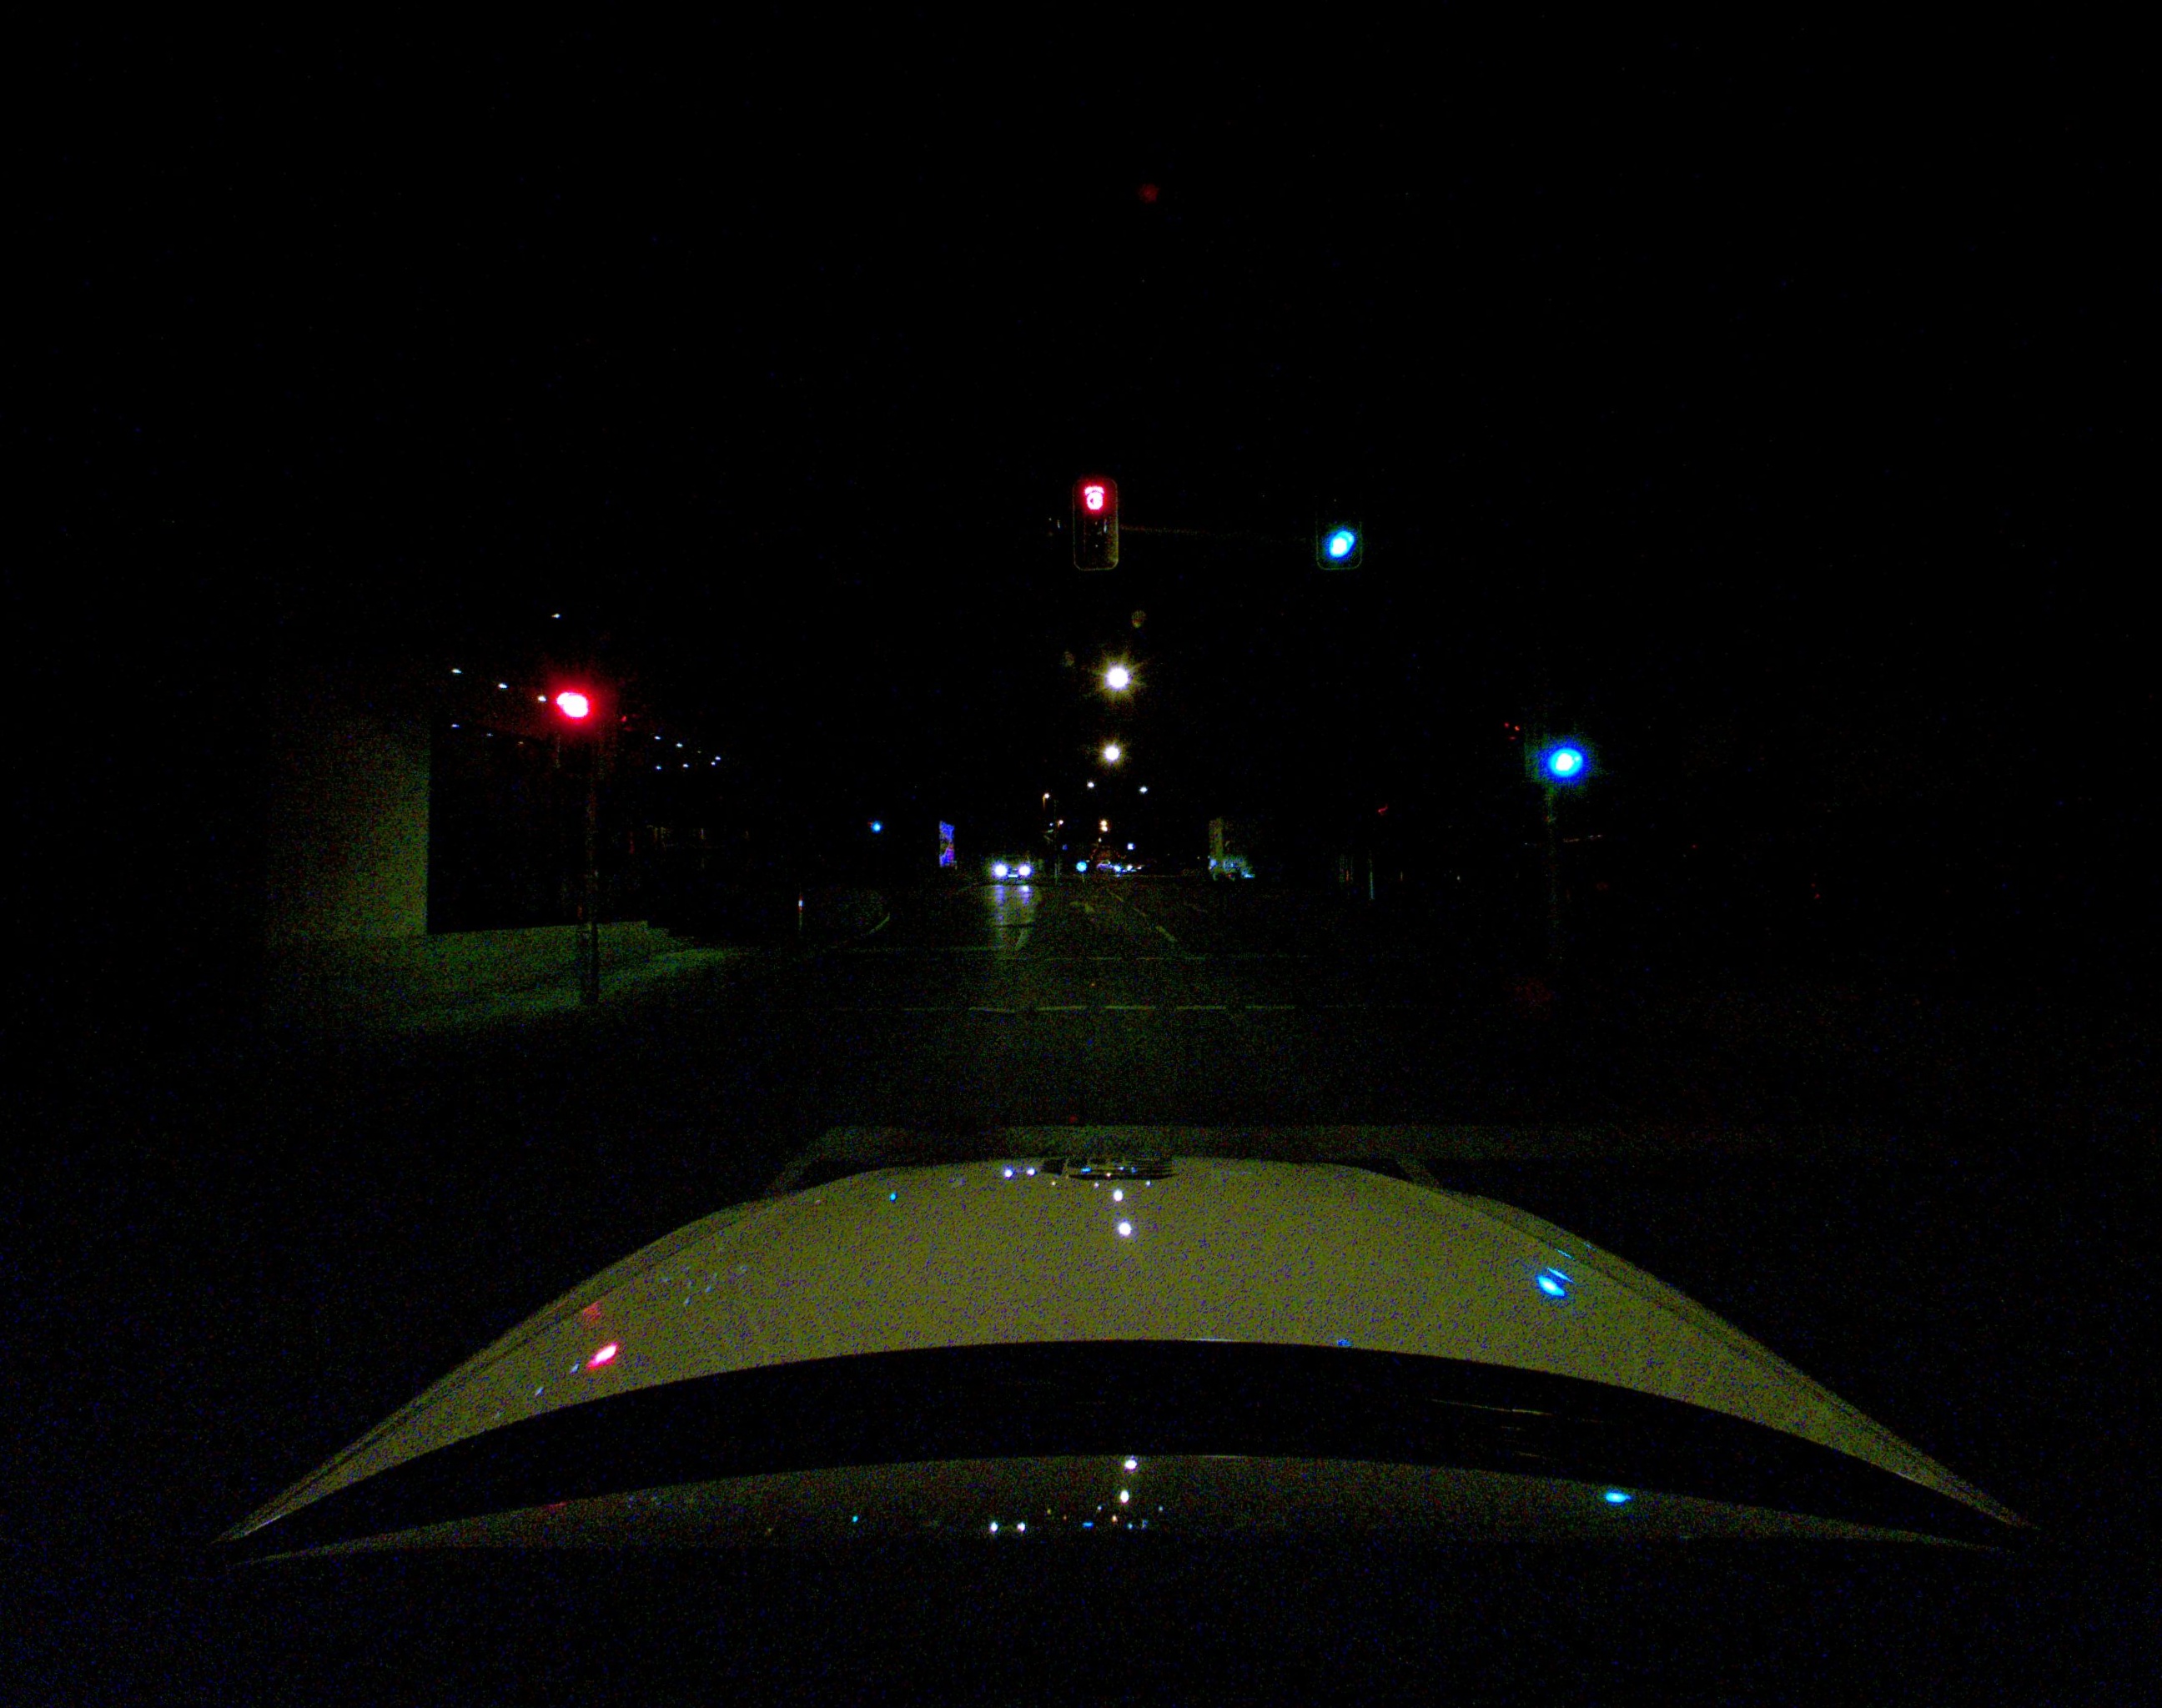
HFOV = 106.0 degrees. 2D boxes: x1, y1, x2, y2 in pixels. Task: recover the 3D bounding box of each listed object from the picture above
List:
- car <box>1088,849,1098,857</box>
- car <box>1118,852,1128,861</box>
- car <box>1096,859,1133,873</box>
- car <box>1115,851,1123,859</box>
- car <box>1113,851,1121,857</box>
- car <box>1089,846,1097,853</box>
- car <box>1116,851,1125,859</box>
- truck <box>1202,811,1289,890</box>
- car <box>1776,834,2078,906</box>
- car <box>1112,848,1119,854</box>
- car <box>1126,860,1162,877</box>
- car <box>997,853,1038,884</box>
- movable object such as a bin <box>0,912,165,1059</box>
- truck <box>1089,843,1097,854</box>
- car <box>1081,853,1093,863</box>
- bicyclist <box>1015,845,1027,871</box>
[{"bbox_3d":[2.362,-0.139,161.464,1.809,1.491,4.000,0,0,0],"label":"car"},{"bbox_3d":[7.424,0.425,144.115,1.628,1.451,3.486,0,0,2],"label":"car"},{"bbox_3d":[3.303,1.175,81.638,1.925,1.388,4.547,0,0,-24],"label":"car"},{"bbox_3d":[7.435,0.156,160.046,1.628,1.451,3.486,0,0,2],"label":"car"},{"bbox_3d":[7.897,0.029,179.292,1.628,1.451,3.486,0,0,2],"label":"car"},{"bbox_3d":[2.688,-0.983,187.890,1.809,1.491,4.000,0,0,0],"label":"car"},{"bbox_3d":[7.404,0.222,153.858,1.628,1.451,3.486,0,0,2],"label":"car"},{"bbox_3d":[6.925,-0.142,35.191,2.738,3.110,6.262,0,0,2],"label":"truck"},{"bbox_3d":[17.405,0.341,16.961,4.107,1.280,1.770,-2,-1,9],"label":"car"},{"bbox_3d":[8.096,-0.772,192.272,1.628,1.451,3.486,0,0,2],"label":"car"},{"bbox_3d":[5.637,1.266,72.461,1.566,1.501,3.417,-1,0,38],"label":"car"},{"bbox_3d":[-3.327,0.743,43.267,1.851,1.534,4.028,0,0,0],"label":"car"},{"bbox_3d":[-7.917,1.006,6.465,0.633,1.049,0.657,-1,-1,19],"label":"movable object such as a bin"},{"bbox_3d":[3.042,-1.304,210.517,2.079,2.848,5.831,0,0,0],"label":"truck"},{"bbox_3d":[1.055,0.651,135.420,1.808,1.684,4.002,0,0,2],"label":"car"},{"bbox_3d":[-3.847,0.271,52.235,0.688,1.637,0.896,-1,-1,1],"label":"bicyclist"}]
